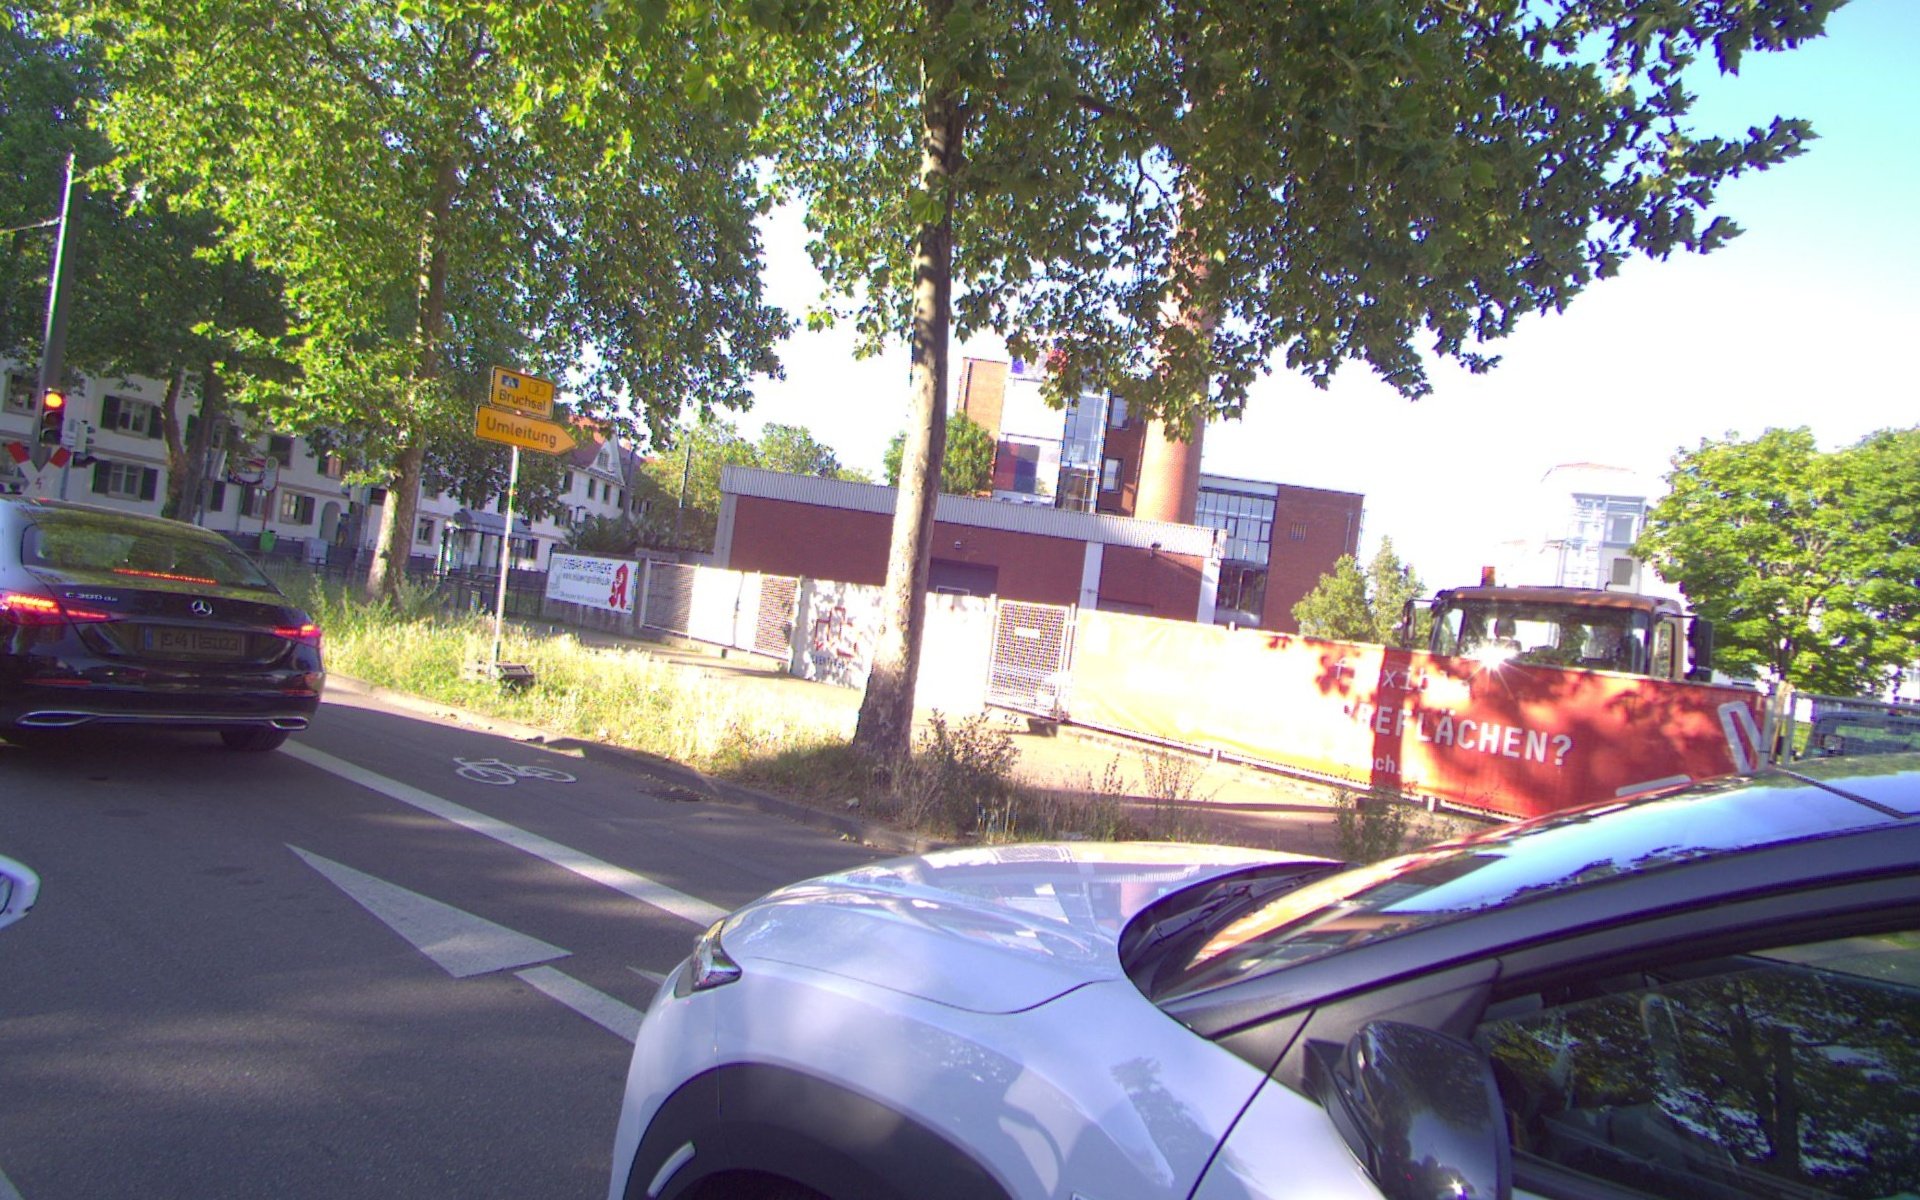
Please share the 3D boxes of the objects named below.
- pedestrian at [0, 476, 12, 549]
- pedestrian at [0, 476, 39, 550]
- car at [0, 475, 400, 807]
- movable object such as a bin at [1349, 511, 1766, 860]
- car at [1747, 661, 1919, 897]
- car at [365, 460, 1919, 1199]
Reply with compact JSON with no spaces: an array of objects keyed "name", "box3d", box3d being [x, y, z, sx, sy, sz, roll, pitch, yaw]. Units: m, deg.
[{"name":"pedestrian","box3d":[-26.114,-2.397,26.911,0.825,1.940,0.707,7,-1,28]},{"name":"pedestrian","box3d":[-26.517,-2.433,28.130,0.825,1.940,0.707,7,-1,28]},{"name":"car","box3d":[-5.932,0.034,6.603,4.307,1.508,1.894,9,-1,30]},{"name":"movable object such as a bin","box3d":[7.650,1.030,12.406,3.172,3.084,6.266,6,-2,41]},{"name":"car","box3d":[9.579,1.819,10.149,2.016,1.849,4.583,6,-3,44]},{"name":"car","box3d":[1.216,0.932,1.324,3.901,1.616,1.893,9,-1,33]}]
